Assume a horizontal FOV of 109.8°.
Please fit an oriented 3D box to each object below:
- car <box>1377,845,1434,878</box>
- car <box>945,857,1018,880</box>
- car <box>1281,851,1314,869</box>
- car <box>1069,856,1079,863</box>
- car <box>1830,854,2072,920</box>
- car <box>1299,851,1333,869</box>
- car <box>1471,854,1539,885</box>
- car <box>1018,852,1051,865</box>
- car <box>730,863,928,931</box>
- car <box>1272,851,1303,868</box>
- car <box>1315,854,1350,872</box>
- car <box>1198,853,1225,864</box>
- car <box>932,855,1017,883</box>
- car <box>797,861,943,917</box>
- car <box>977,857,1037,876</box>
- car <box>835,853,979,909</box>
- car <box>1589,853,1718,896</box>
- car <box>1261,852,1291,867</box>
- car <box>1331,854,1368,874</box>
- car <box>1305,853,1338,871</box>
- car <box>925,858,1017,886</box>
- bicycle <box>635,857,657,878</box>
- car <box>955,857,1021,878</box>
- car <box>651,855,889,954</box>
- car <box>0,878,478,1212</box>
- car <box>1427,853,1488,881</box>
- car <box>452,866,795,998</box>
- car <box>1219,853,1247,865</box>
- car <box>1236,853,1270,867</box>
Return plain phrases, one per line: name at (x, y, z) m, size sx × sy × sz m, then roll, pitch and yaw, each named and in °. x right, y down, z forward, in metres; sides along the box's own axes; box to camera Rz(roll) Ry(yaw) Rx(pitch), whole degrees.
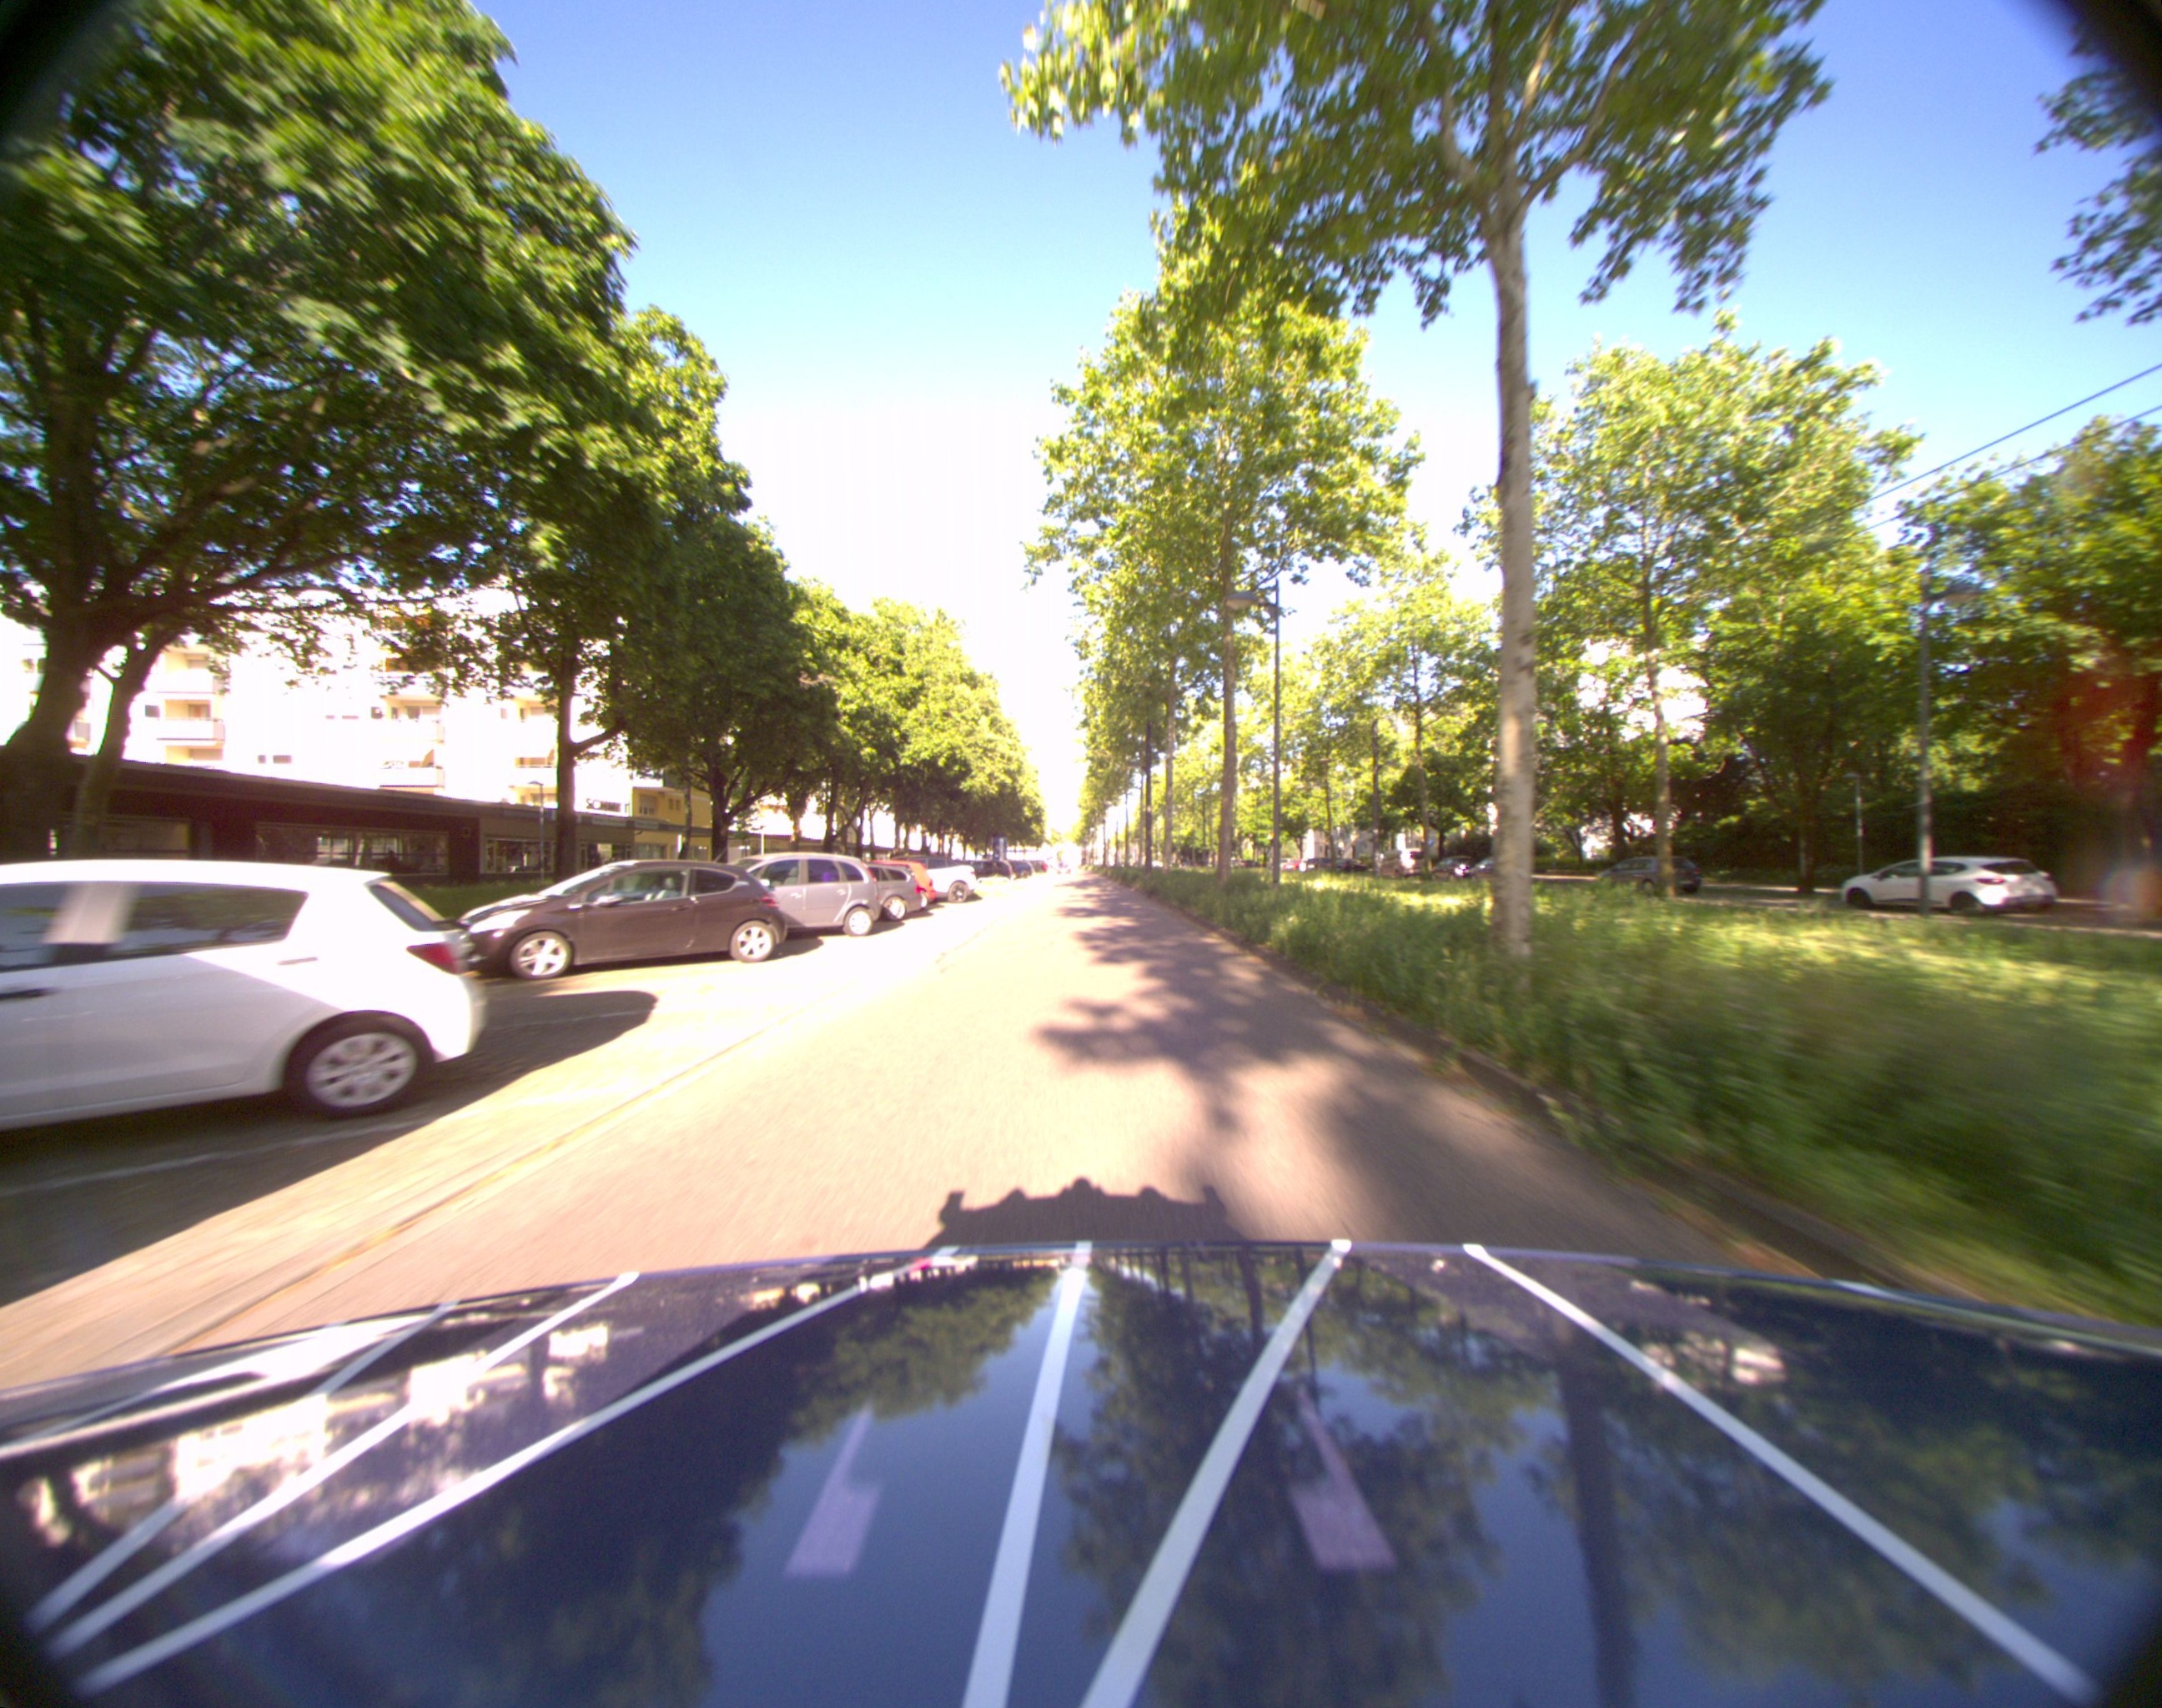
car at (22.479, 0.493, 52.795) m, size 1.986 × 2.045 × 4.278 m, roll -4°, pitch 1°, yaw 0°
car at (-6.722, 0.991, 51.567) m, size 1.994 × 1.440 × 4.687 m, roll 1°, pitch 0°, yaw 44°
car at (23.553, 0.624, 82.443) m, size 1.895 × 1.699 × 4.509 m, roll -1°, pitch 1°, yaw 37°
car at (-1.529, 1.209, 172.841) m, size 1.897 × 1.623 × 4.502 m, roll -2°, pitch 0°, yaw 4°
car at (22.538, 0.777, 19.955) m, size 1.723 × 1.410 × 4.023 m, roll -4°, pitch 0°, yaw 1°
car at (24.786, 0.591, 80.057) m, size 1.895 × 1.699 × 4.509 m, roll -1°, pitch 1°, yaw 37°
car at (22.518, 0.776, 40.512) m, size 1.545 × 1.480 × 3.569 m, roll -4°, pitch 0°, yaw 1°
car at (-6.379, 0.602, 104.365) m, size 1.894 × 1.663 × 4.510 m, roll 1°, pitch 0°, yaw 44°
car at (-5.834, 0.938, 17.945) m, size 1.681 × 1.395 × 4.096 m, roll 1°, pitch 0°, yaw 44°
car at (23.734, 0.609, 87.230) m, size 1.895 × 1.699 × 4.509 m, roll -1°, pitch 1°, yaw 37°
car at (23.813, 0.812, 71.810) m, size 1.884 × 1.558 × 4.008 m, roll -1°, pitch 1°, yaw 37°
car at (21.473, 0.732, 125.125) m, size 4.006 × 1.699 × 1.837 m, roll -2°, pitch 1°, yaw -31°
car at (-6.220, 0.874, 44.885) m, size 1.994 × 1.556 × 4.687 m, roll 1°, pitch 0°, yaw 44°
car at (-5.948, 0.941, 21.608) m, size 3.584 × 1.412 × 1.706 m, roll 1°, pitch 1°, yaw -42°
car at (-5.733, 0.973, 59.301) m, size 1.894 × 1.440 × 4.510 m, roll 1°, pitch 0°, yaw 44°
car at (-5.774, 0.850, 25.508) m, size 4.311 × 1.666 × 1.862 m, roll -1°, pitch 0°, yaw -40°
car at (22.610, 0.758, 30.250) m, size 1.843 × 1.480 × 4.179 m, roll -4°, pitch 0°, yaw -1°
car at (23.184, 0.637, 90.280) m, size 1.895 × 1.699 × 4.509 m, roll -1°, pitch 1°, yaw 37°
car at (23.807, 0.857, 67.281) m, size 1.884 × 1.558 × 4.008 m, roll -1°, pitch 1°, yaw 37°
car at (23.841, 0.776, 75.333) m, size 1.884 × 1.558 × 4.008 m, roll -1°, pitch 1°, yaw 37°
car at (-5.912, 0.962, 41.192) m, size 1.994 × 1.417 × 4.687 m, roll 1°, pitch 0°, yaw 44°
bicycle at (-28.087, 0.885, 49.094) m, size 0.506 × 1.299 × 1.660 m, roll -2°, pitch 1°, yaw -2°
car at (-6.663, 0.969, 54.908) m, size 1.894 × 1.440 × 4.510 m, roll 1°, pitch 0°, yaw 44°
car at (-5.726, 0.857, 14.273) m, size 1.695 × 1.581 × 3.731 m, roll 1°, pitch 0°, yaw 44°
car at (-5.673, 0.925, 4.127) m, size 3.635 × 1.486 × 1.677 m, roll 1°, pitch 1°, yaw -43°
car at (22.677, 0.757, 45.935) m, size 1.754 × 1.487 × 3.817 m, roll -4°, pitch 1°, yaw 1°
car at (-6.159, 0.909, 10.506) m, size 1.677 × 1.450 × 3.754 m, roll 1°, pitch 1°, yaw 44°
car at (23.147, 0.771, 115.846) m, size 4.006 × 1.699 × 1.837 m, roll -2°, pitch 1°, yaw -31°
car at (23.926, 0.847, 105.801) m, size 4.507 × 1.699 × 1.895 m, roll -2°, pitch 1°, yaw -31°
